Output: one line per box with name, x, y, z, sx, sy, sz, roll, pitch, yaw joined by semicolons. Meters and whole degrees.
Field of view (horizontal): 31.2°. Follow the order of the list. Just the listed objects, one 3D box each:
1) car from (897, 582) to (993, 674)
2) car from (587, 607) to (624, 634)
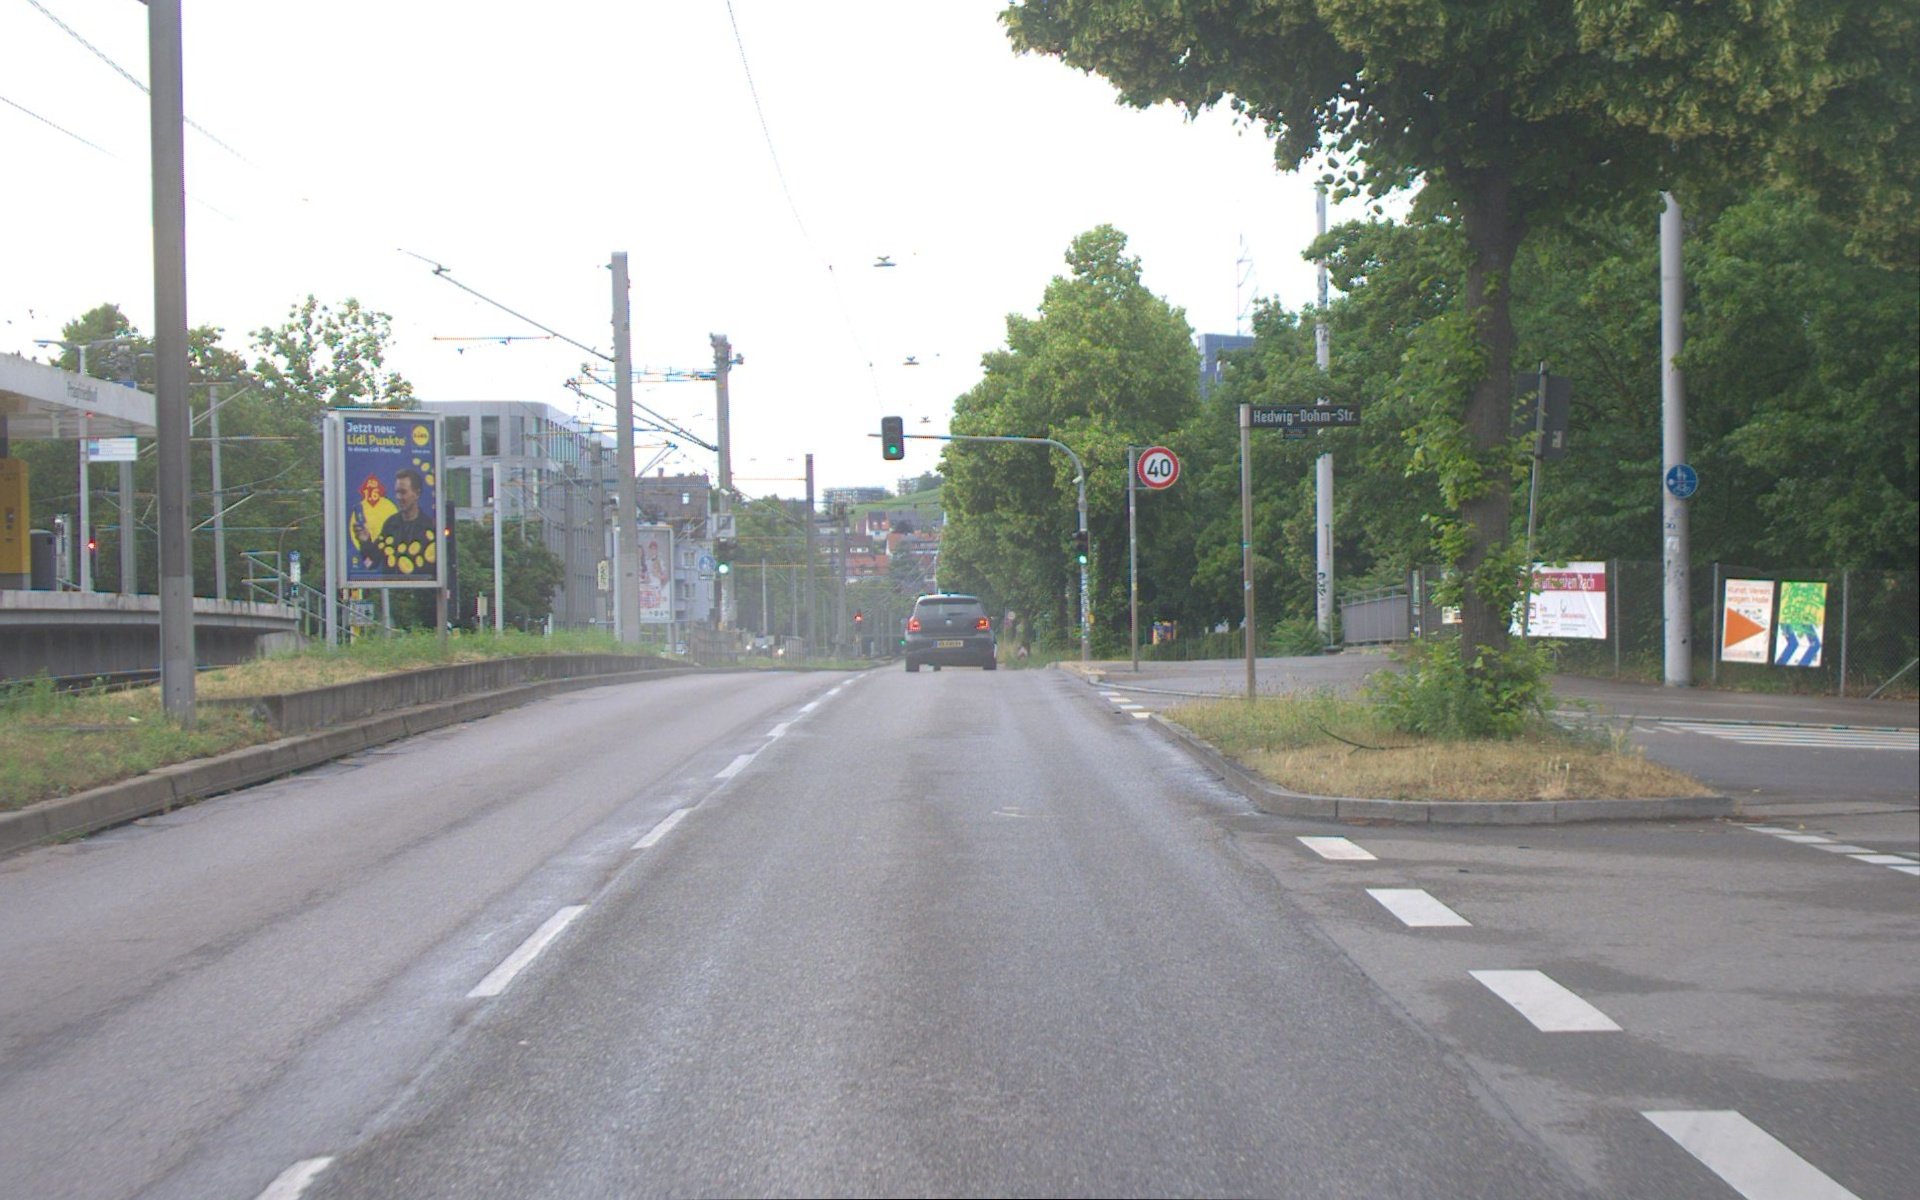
car;-0.300;0.503;64.756;1.726;1.535;4.001;-1;2;-1
car;-24.102;1.388;233.729;1.850;1.626;3.609;2;2;5
